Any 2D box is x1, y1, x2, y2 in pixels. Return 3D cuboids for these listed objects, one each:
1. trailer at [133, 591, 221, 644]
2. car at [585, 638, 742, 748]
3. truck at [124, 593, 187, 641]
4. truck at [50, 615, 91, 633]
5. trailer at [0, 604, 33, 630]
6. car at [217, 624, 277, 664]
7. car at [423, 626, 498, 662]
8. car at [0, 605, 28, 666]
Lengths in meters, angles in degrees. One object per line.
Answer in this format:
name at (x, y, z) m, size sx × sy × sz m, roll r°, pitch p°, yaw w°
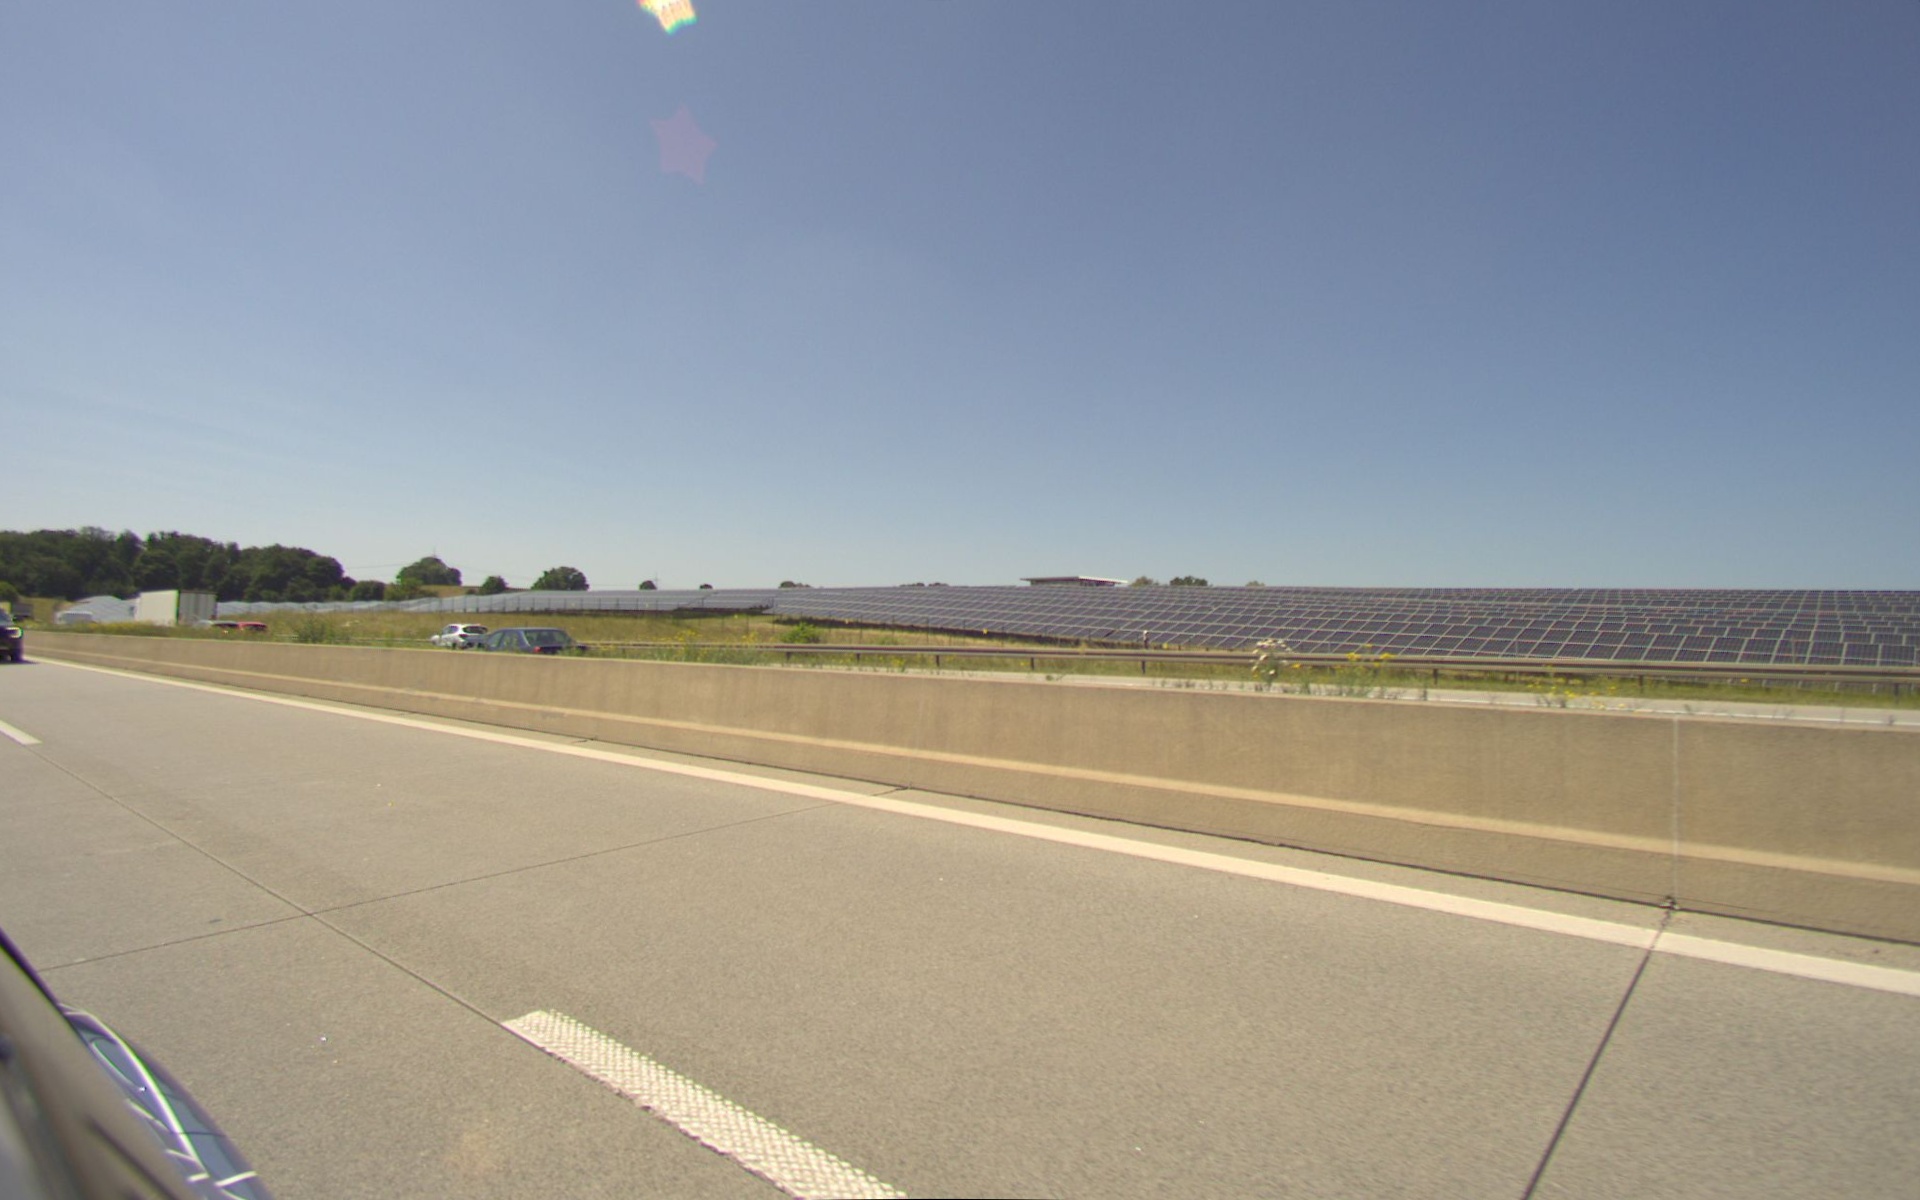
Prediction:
trailer at (-65.024, 1.400, 83.869) m, size 14.133 × 4.035 × 3.058 m, roll -1°, pitch -1°, yaw 41°
car at (-6.275, 1.859, 21.254) m, size 3.388 × 2.029 × 1.608 m, roll -1°, pitch -1°, yaw 41°
truck at (-70.435, 1.468, 88.577) m, size 7.251 × 4.035 × 3.058 m, roll -1°, pitch -1°, yaw 41°
truck at (-101.436, 2.713, 115.411) m, size 7.626 × 2.029 × 2.491 m, roll -1°, pitch -1°, yaw 41°
trailer at (-139.482, 2.503, 148.872) m, size 14.013 × 3.578 × 2.901 m, roll -1°, pitch -3°, yaw 41°
car at (-38.826, 2.341, 55.069) m, size 3.998 × 2.029 × 1.781 m, roll -1°, pitch -1°, yaw 41°
car at (-22.219, 1.922, 44.956) m, size 3.998 × 1.493 × 1.609 m, roll -1°, pitch -1°, yaw 41°
car at (-31.808, 1.126, 32.646) m, size 6.528 × 1.860 × 1.972 m, roll -1°, pitch 0°, yaw 42°
